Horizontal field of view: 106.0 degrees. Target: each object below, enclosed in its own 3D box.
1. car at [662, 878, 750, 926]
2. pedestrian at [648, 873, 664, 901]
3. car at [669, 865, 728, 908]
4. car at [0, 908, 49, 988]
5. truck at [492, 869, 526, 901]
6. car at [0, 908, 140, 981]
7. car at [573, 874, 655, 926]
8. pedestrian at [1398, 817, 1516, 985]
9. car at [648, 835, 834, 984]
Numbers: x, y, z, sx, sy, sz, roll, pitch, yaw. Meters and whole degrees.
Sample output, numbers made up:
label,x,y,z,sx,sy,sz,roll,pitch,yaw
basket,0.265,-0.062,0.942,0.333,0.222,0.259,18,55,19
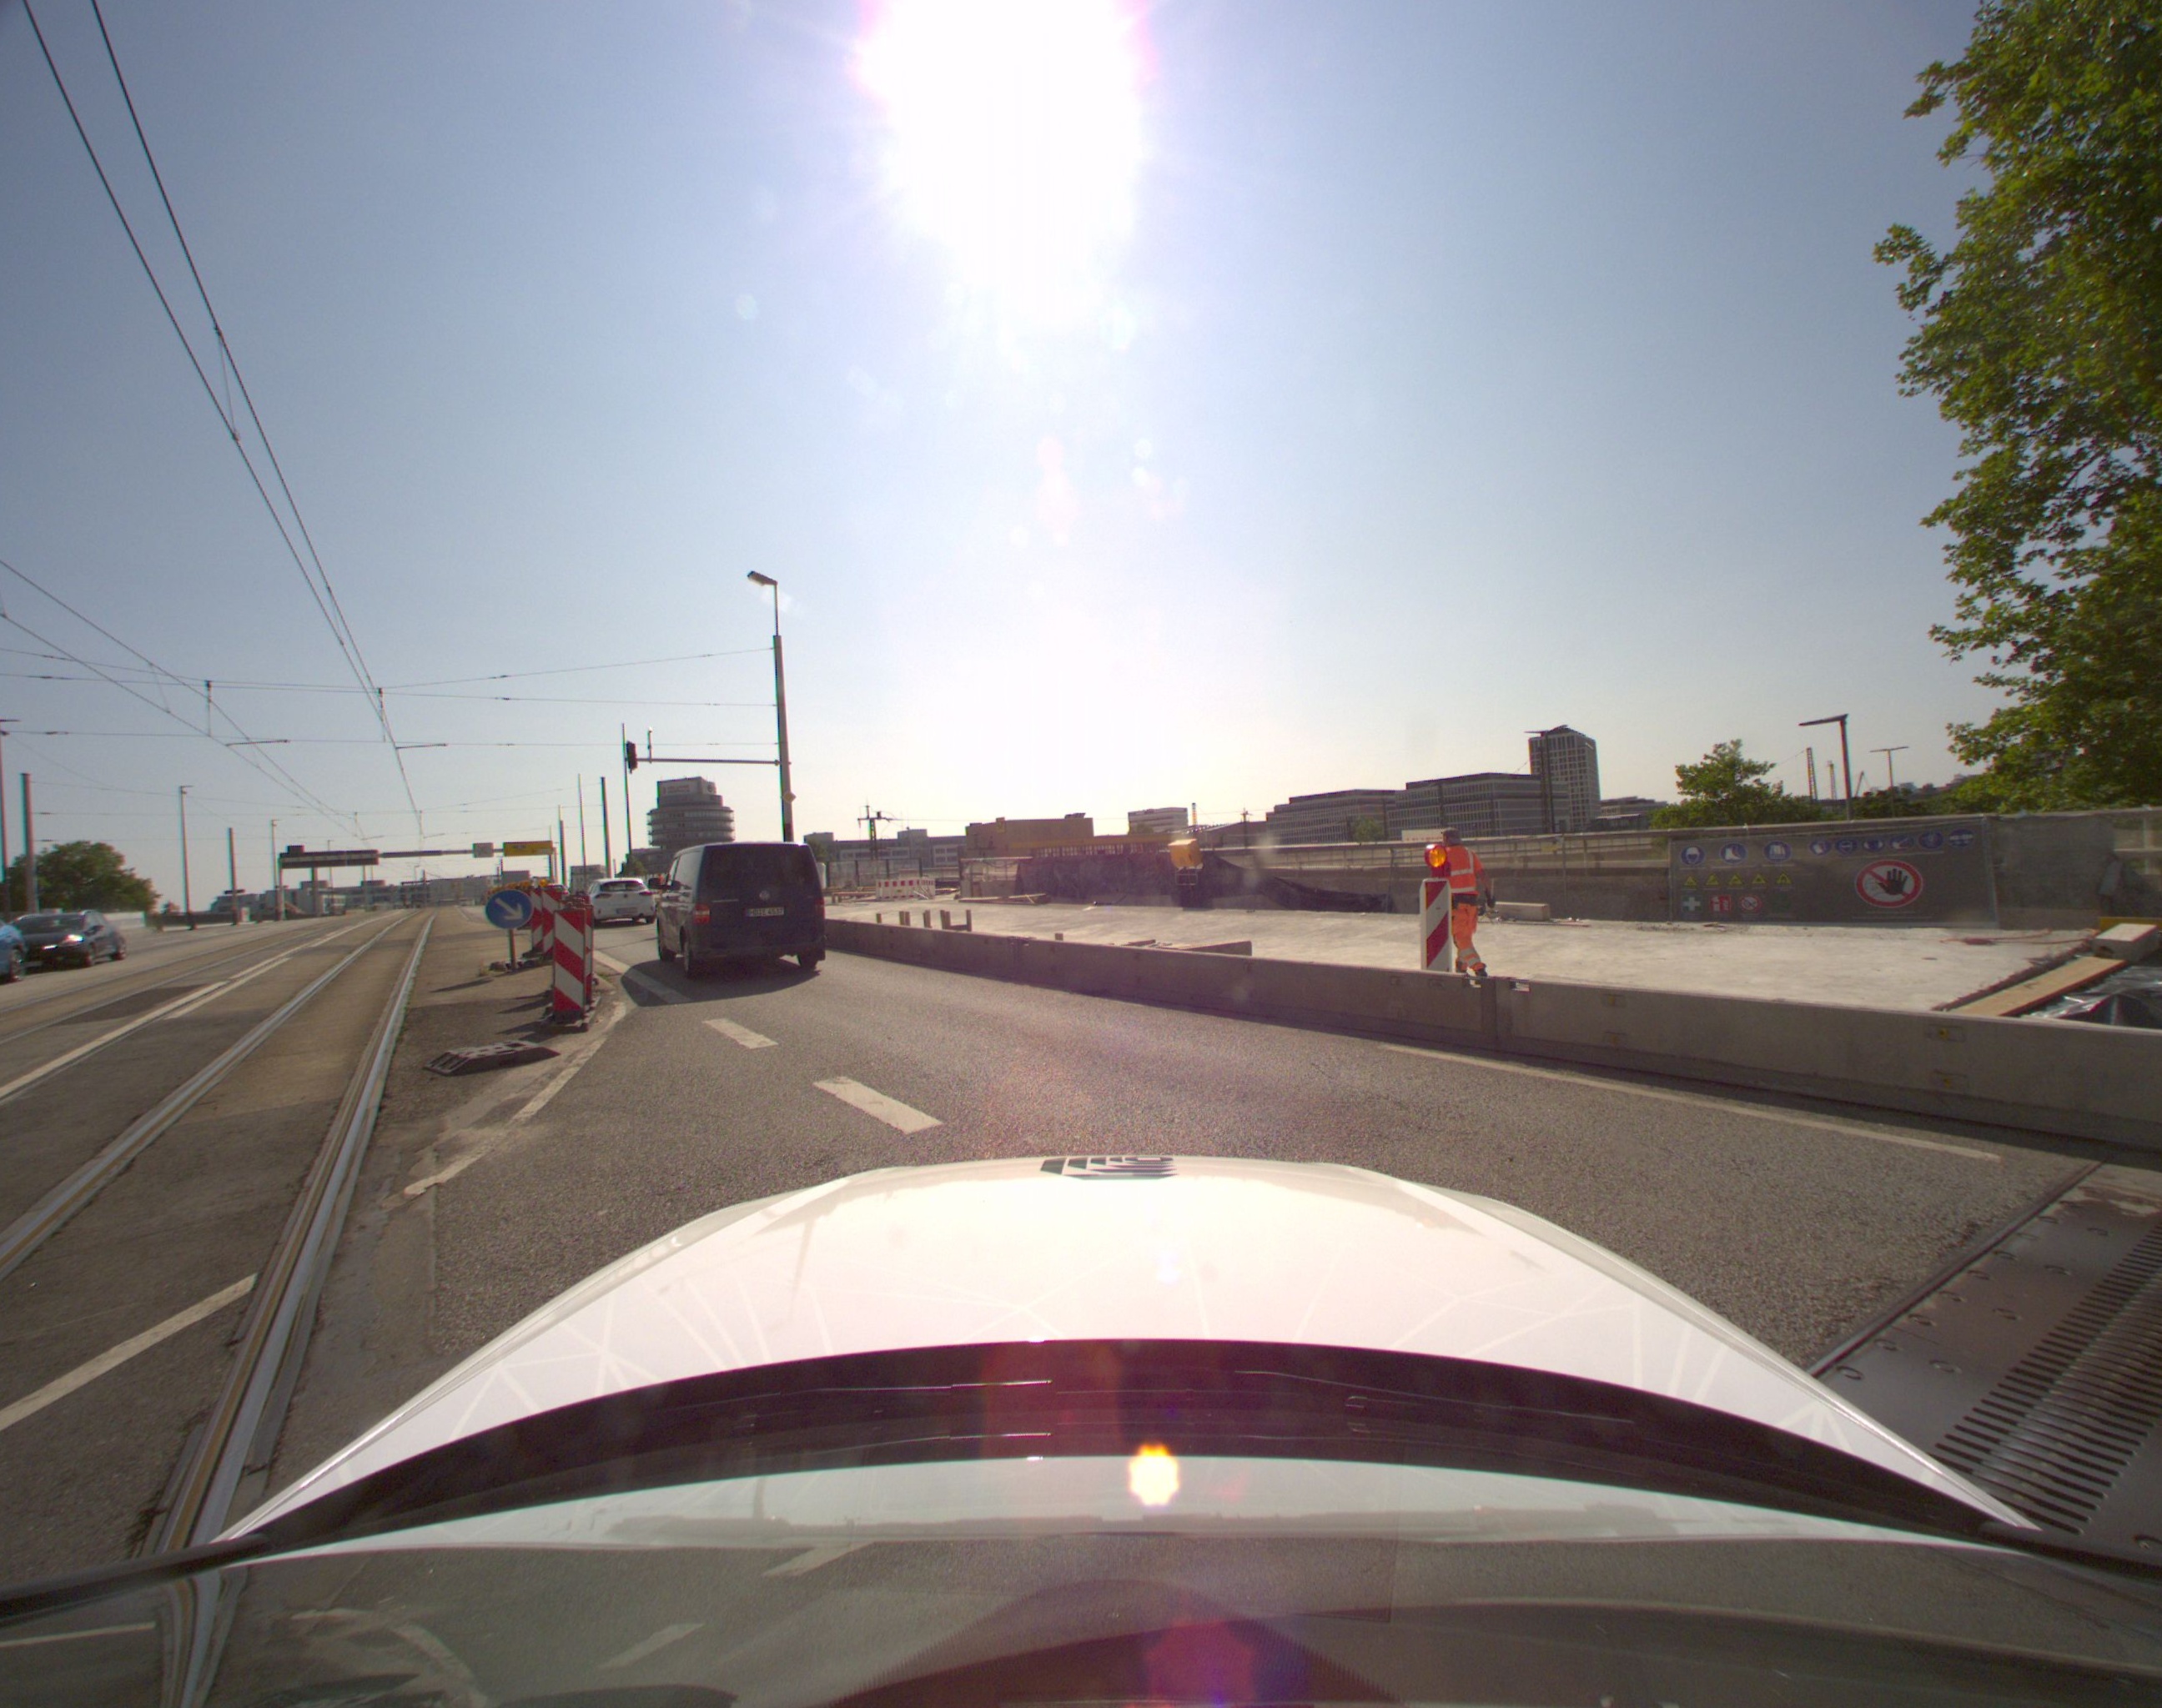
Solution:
label,x,y,z,sx,sy,sz,roll,pitch,yaw
car,-11.364,1.388,24.577,1.731,1.250,3.374,-3,0,-36
pedestrian,-31.036,2.409,59.479,0.788,1.935,0.790,-5,0,-37
car,-20.110,1.722,42.744,1.893,2.033,4.837,-2,-1,-36
car,-22.413,1.963,15.877,1.683,1.550,4.504,-5,1,-37
truck,-61.962,3.330,88.167,2.480,3.134,11.089,-4,0,-37
car,-26.471,2.286,21.275,1.518,1.500,4.130,-5,1,-37
car,-14.664,1.401,25.500,1.731,1.405,3.373,-3,0,-38
pedestrian,4.367,0.519,9.460,0.826,1.794,0.854,-5,1,-38
car,-5.546,0.771,12.976,1.829,1.905,4.010,-3,1,-35
